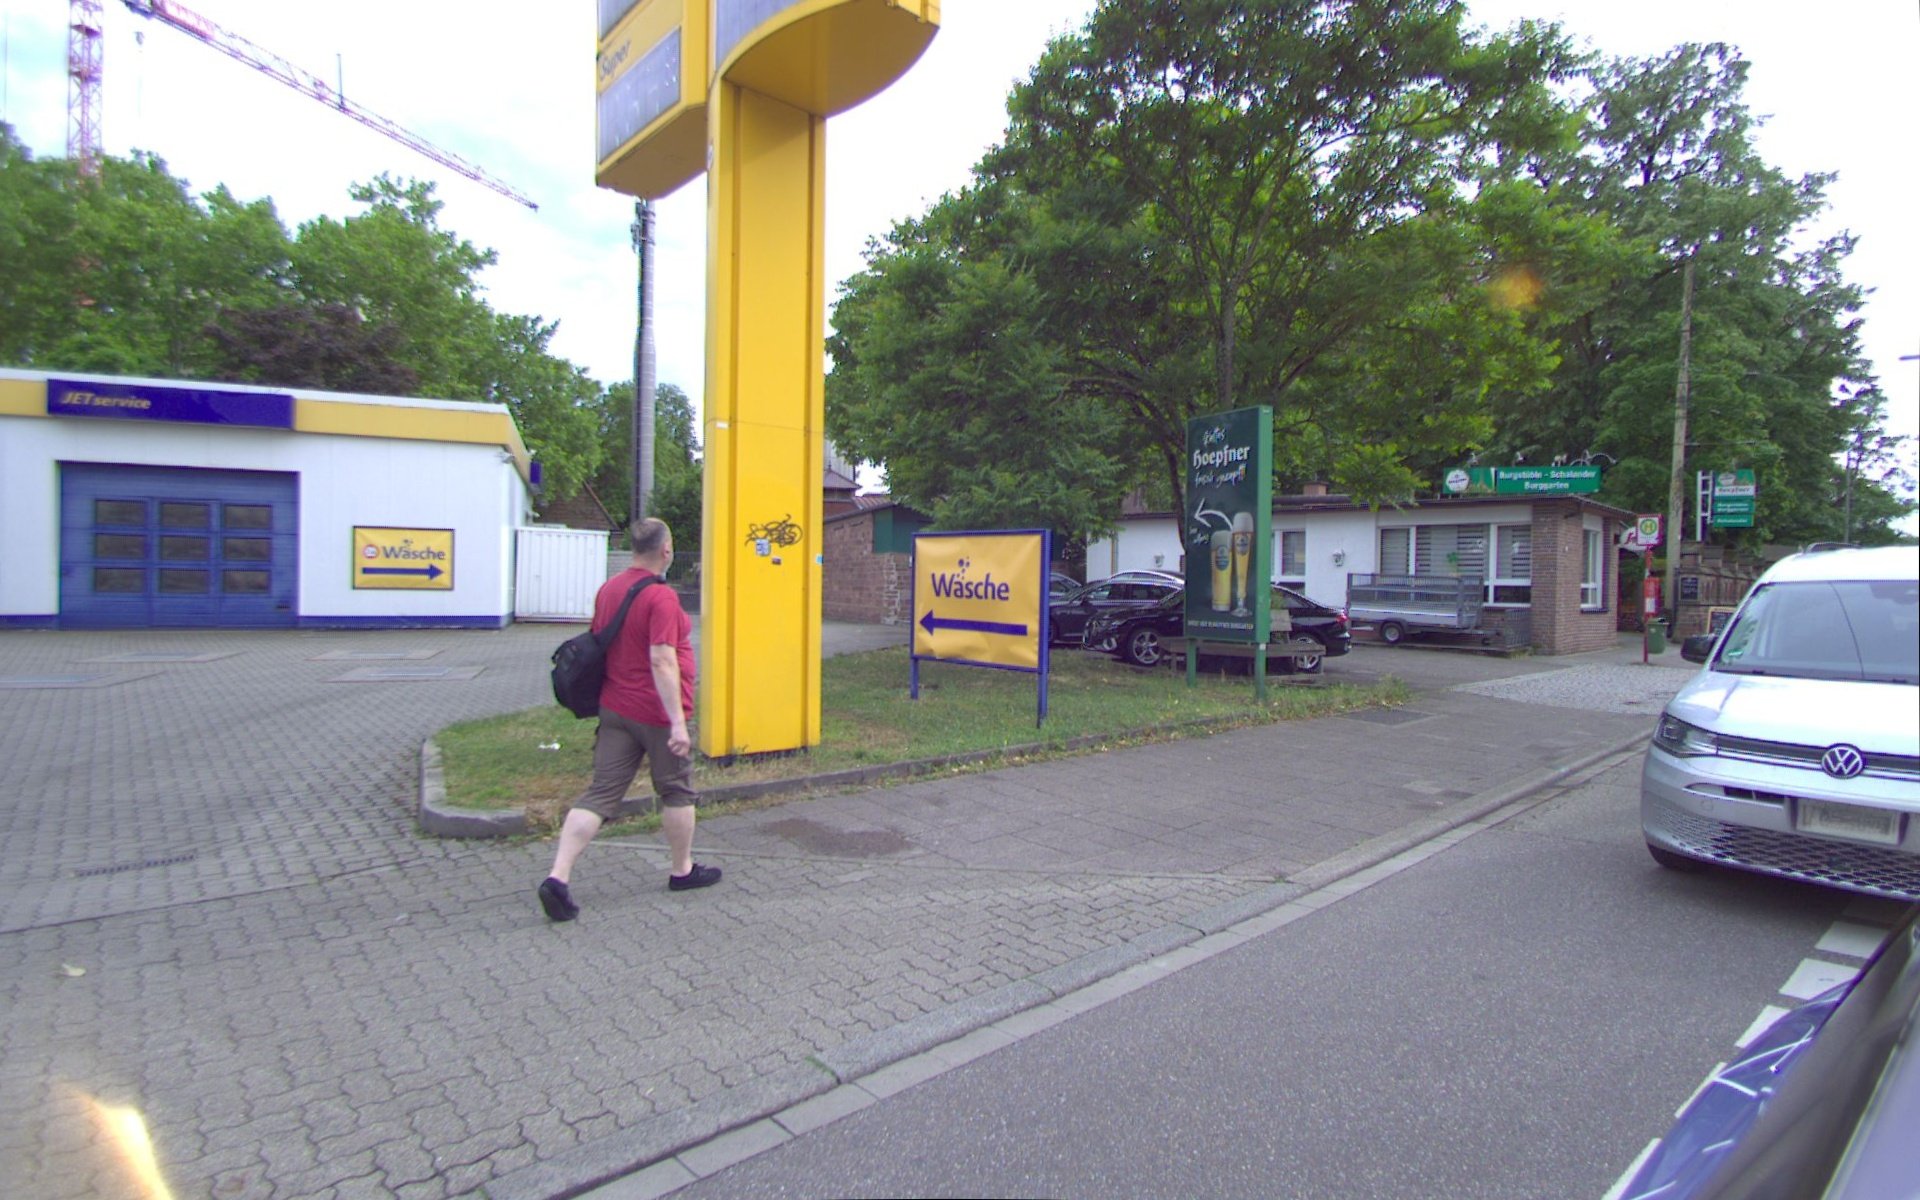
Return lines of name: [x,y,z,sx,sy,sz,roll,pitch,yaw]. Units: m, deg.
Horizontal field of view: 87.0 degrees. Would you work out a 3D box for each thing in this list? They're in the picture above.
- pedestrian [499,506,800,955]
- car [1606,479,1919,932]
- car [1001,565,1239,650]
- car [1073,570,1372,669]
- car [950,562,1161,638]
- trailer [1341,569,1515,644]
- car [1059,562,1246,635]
pedestrian: [-1.383,0.481,4.563,0.966,1.759,0.853,3,3,28]
car: [5.670,0.434,5.740,4.846,1.830,1.851,1,1,-38]
car: [3.152,0.125,20.652,4.453,1.444,1.880,2,3,-2]
car: [4.307,0.294,17.144,4.497,1.425,1.936,2,1,0]
car: [2.095,-0.018,23.044,4.401,1.477,1.988,2,1,-5]
trailer: [10.399,0.093,22.595,1.594,1.558,3.165,-1,2,-43]
car: [4.744,-0.082,25.447,1.955,1.667,4.434,0,1,-39]
